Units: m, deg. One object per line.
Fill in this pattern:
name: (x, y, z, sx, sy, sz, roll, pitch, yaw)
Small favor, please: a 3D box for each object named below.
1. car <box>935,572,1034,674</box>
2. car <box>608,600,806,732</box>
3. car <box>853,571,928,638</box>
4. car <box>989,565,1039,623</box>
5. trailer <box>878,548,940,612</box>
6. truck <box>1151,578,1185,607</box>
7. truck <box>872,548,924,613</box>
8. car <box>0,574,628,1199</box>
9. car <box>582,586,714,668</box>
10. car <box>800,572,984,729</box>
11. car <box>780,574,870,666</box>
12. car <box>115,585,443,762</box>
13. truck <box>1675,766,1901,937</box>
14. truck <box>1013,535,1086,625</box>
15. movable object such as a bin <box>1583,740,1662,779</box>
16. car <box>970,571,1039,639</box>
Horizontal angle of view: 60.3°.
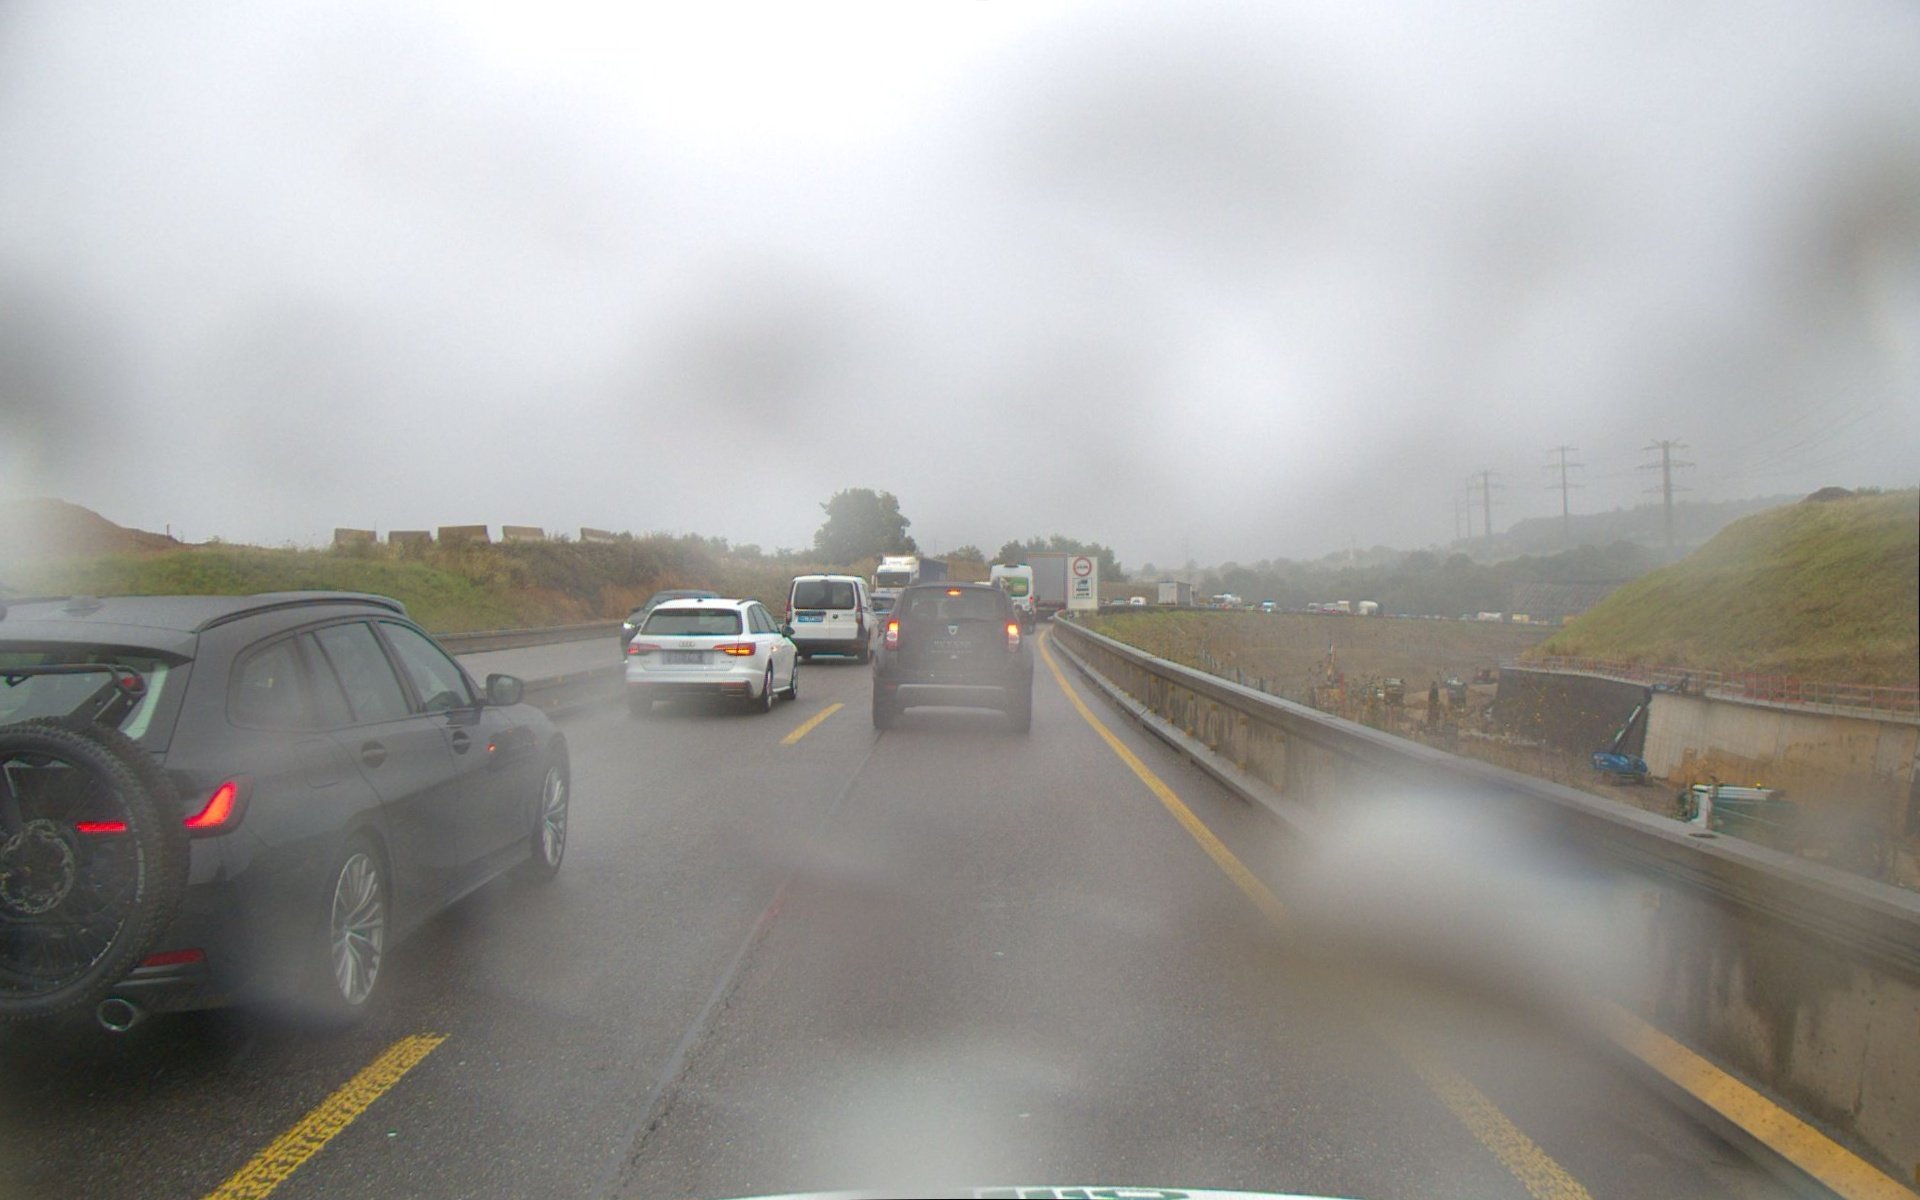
car: (0.440, 0.441, 32.409, 1.789, 1.847, 3.999, 1, -1, -1)
car: (-3.183, 0.794, 21.579, 1.788, 1.525, 4.001, 1, -1, 2)
car: (-1.980, 0.153, 48.357, 1.788, 1.847, 4.001, 1, -1, 3)
car: (2.421, -0.247, 73.597, 1.787, 2.480, 4.161, 1, -1, 7)
trailer: (-3.424, -1.428, 115.624, 2.721, 4.105, 13.750, 1, 1, 5)
truck: (27.844, -1.073, 221.144, 3.398, 3.780, 8.423, 0, 0, 15)
truck: (-4.018, -1.298, 108.623, 2.730, 4.105, 5.823, 1, 1, 4)
car: (-2.794, 0.690, 6.982, 1.699, 1.488, 5.629, 1, 2, -1)
car: (-6.598, 0.524, 35.470, 1.879, 1.613, 4.895, 1, 0, 0)
car: (-0.685, 0.549, 19.383, 1.788, 1.619, 4.001, 1, -1, 2)
car: (-2.882, 0.429, 35.981, 1.790, 1.847, 3.997, 1, -1, -3)
car: (-6.439, 0.620, 16.089, 1.632, 1.491, 3.731, 1, 0, 0)
truck: (23.548, 7.004, 47.669, 2.672, 3.552, 9.070, 1, -1, 5)
truck: (5.591, -1.125, 101.697, 3.468, 5.166, 10.449, 1, -1, 8)
movable object such as a bin: (38.396, 9.249, 95.949, 1.977, 2.049, 3.793, 4, -4, -35)
car: (1.324, 0.157, 47.777, 1.788, 1.847, 4.002, 1, -1, 4)
